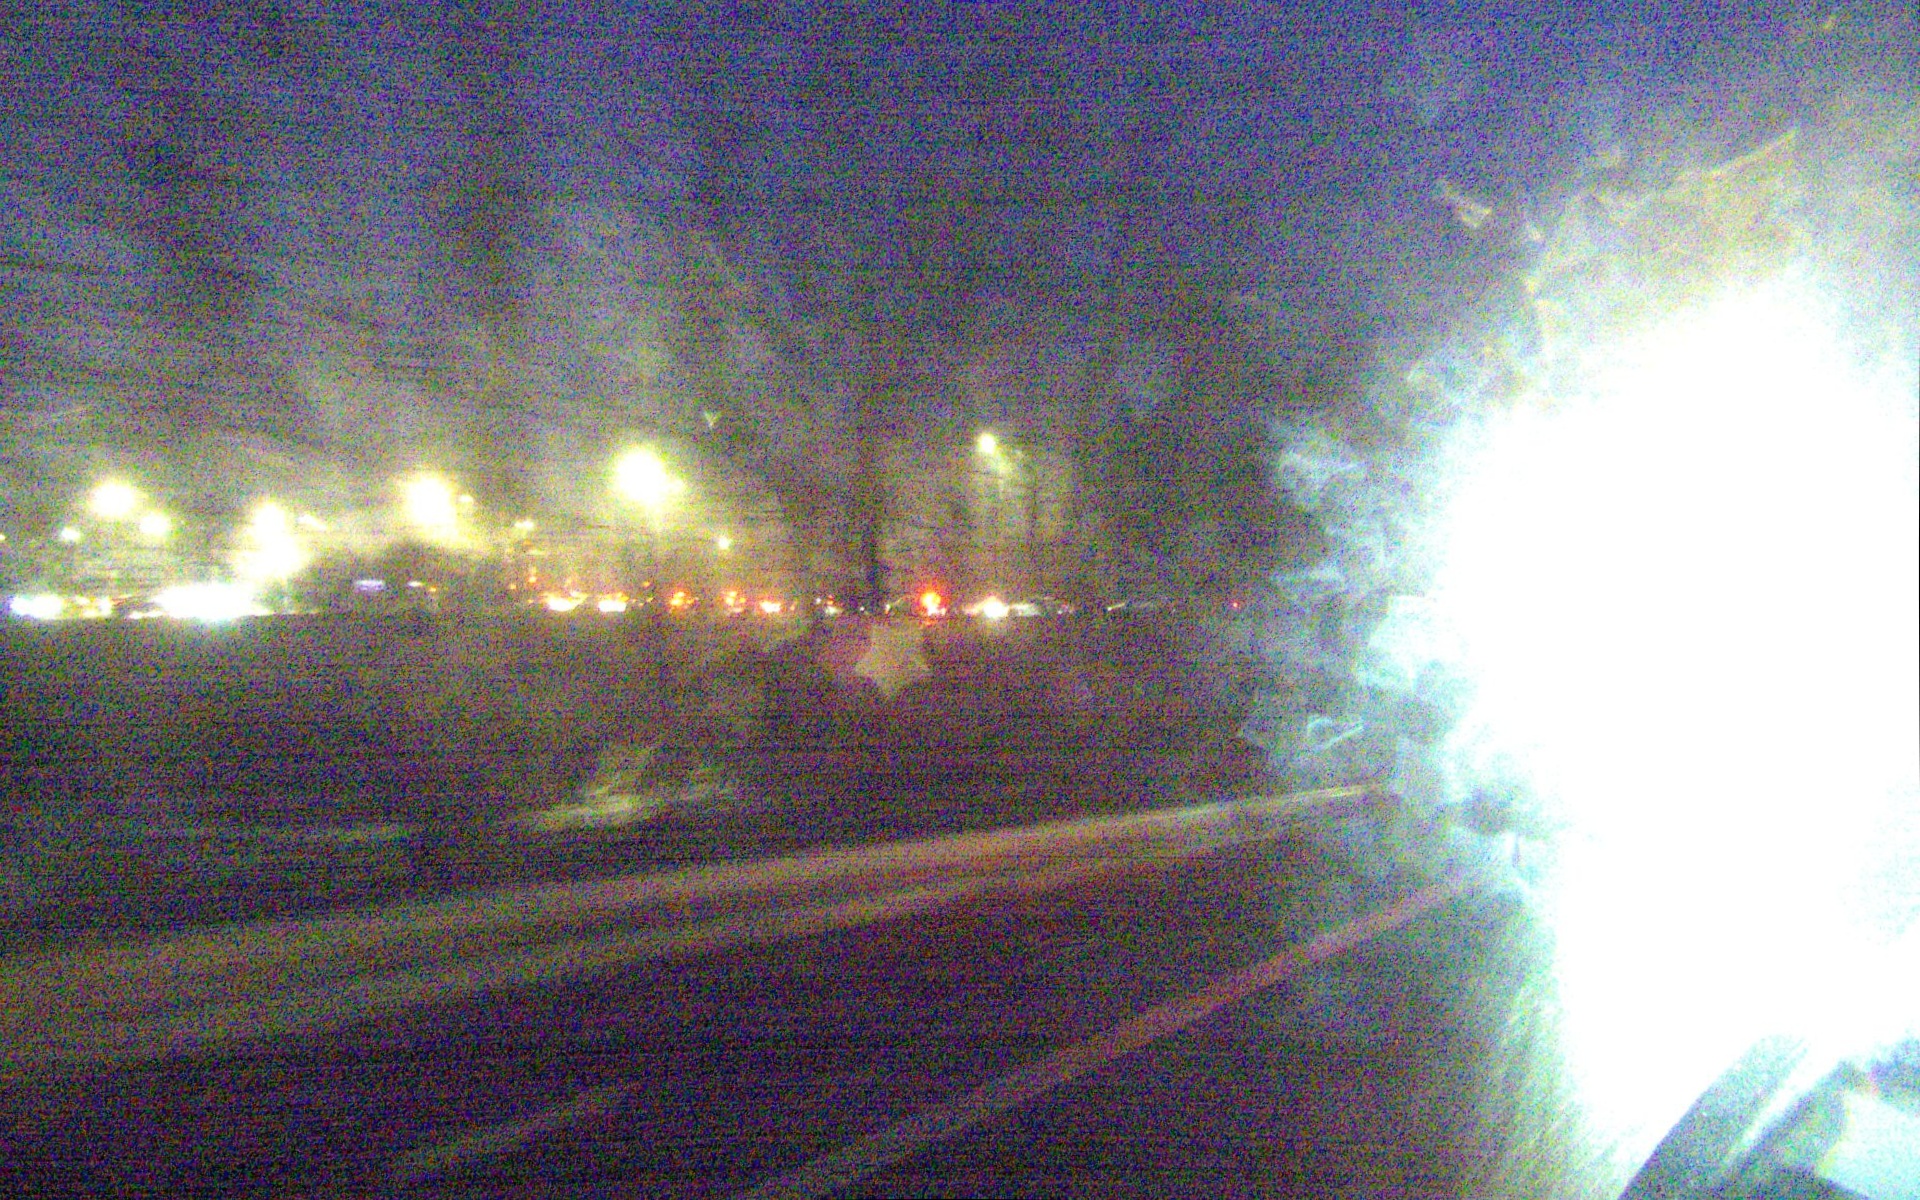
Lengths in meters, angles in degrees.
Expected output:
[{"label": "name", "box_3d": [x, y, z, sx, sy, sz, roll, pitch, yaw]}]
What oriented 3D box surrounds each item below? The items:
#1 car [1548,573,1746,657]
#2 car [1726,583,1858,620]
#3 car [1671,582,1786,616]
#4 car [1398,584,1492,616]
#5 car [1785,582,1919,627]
[{"label": "car", "box_3d": [15.658, 0.304, 23.370, 1.964, 1.769, 4.096, 0, 0, 4]}, {"label": "car", "box_3d": [34.360, 0.082, 41.933, 3.969, 1.460, 1.698, 0, -2, 32]}, {"label": "car", "box_3d": [34.721, -0.032, 45.835, 3.969, 1.460, 1.698, 0, -2, 32]}, {"label": "car", "box_3d": [23.460, 0.015, 48.977, 3.969, 1.460, 1.698, 0, -2, 32]}, {"label": "car", "box_3d": [30.216, 0.168, 33.754, 3.969, 1.460, 1.698, 0, -2, 32]}]
